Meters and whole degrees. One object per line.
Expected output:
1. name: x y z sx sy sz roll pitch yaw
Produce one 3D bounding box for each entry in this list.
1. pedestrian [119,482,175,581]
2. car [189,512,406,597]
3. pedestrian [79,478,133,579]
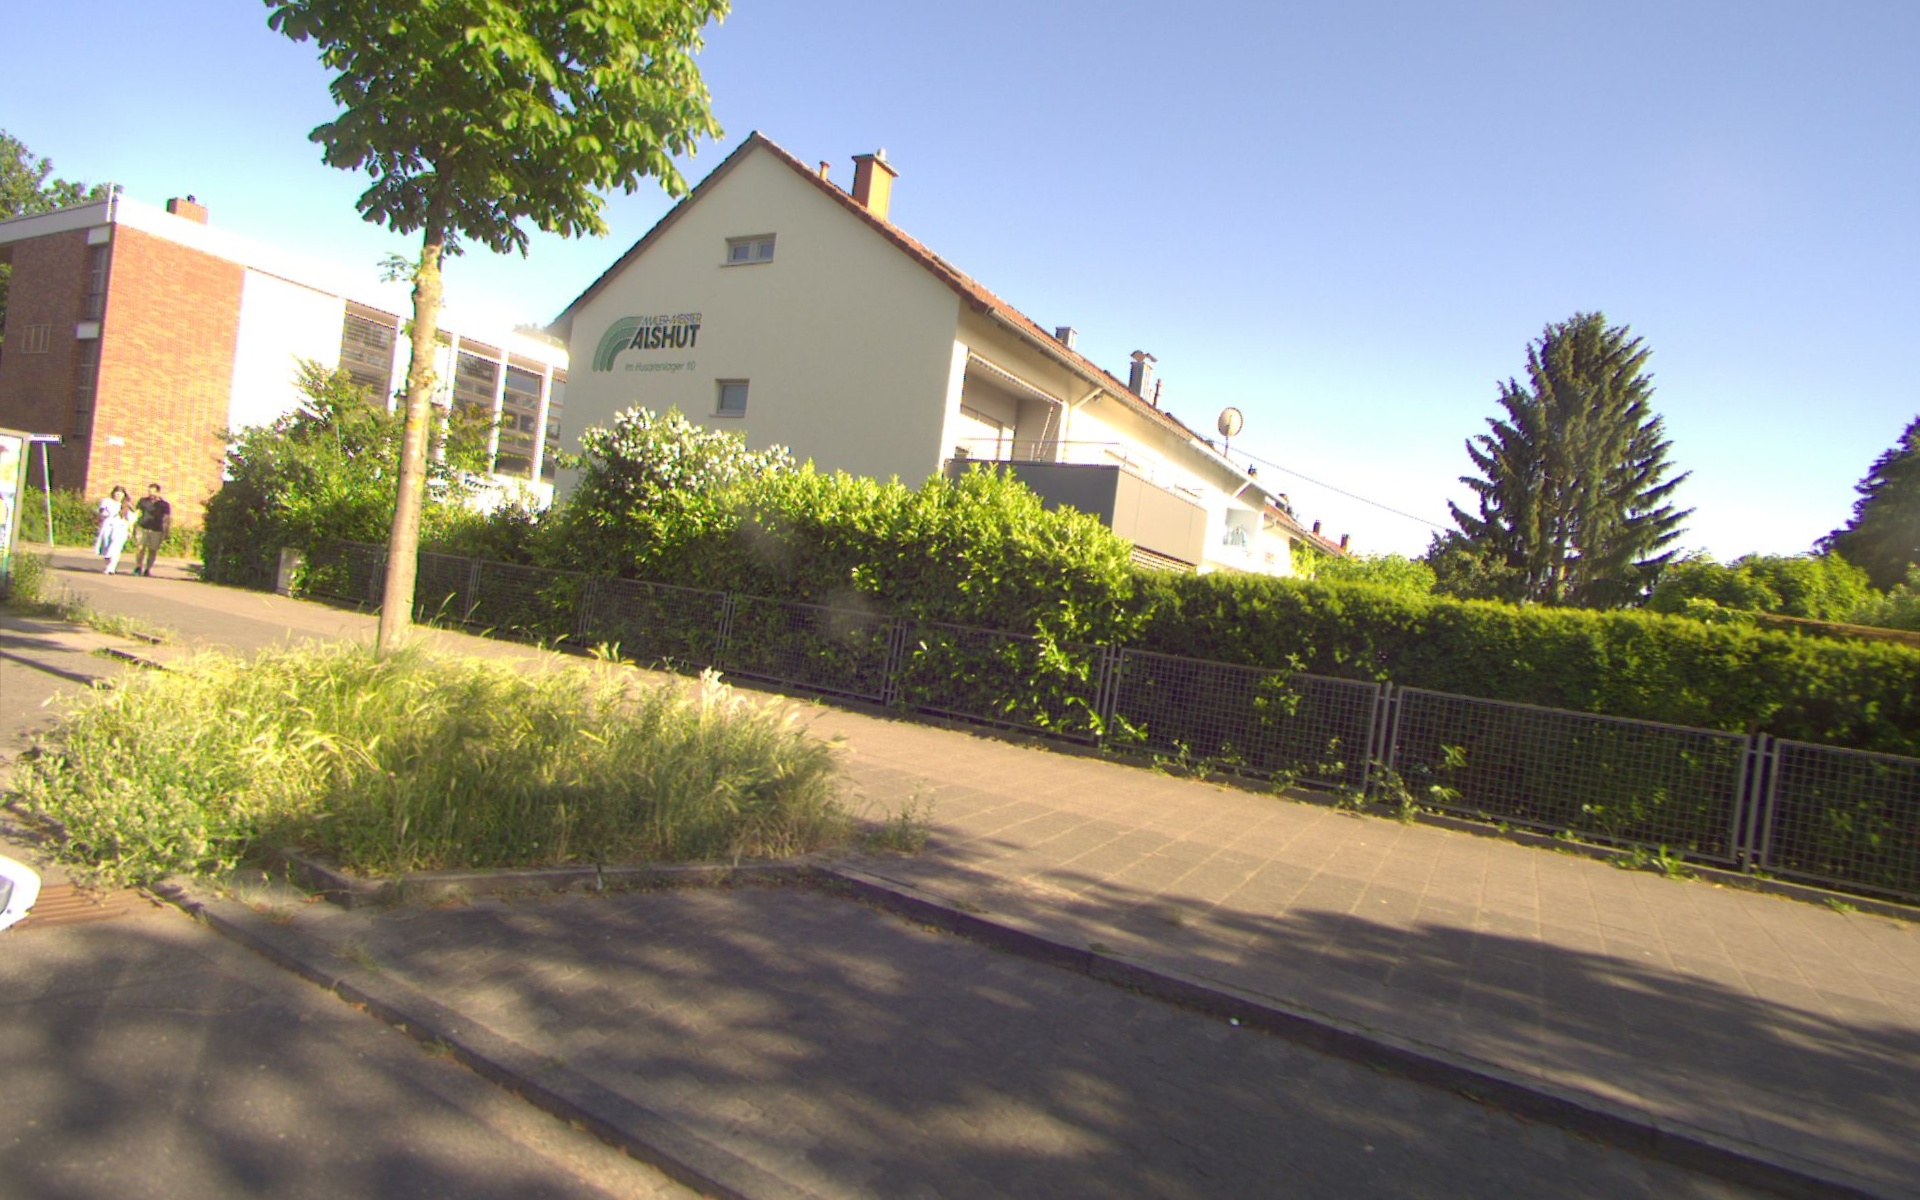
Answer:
1. pedestrian: -15.354 -1.288 18.998 0.604 1.753 0.631 8 -1 -44
2. car: -16.921 -1.109 25.914 1.775 1.520 4.202 8 0 30
3. pedestrian: -15.777 -1.317 18.579 0.552 1.753 0.653 8 -1 -44
